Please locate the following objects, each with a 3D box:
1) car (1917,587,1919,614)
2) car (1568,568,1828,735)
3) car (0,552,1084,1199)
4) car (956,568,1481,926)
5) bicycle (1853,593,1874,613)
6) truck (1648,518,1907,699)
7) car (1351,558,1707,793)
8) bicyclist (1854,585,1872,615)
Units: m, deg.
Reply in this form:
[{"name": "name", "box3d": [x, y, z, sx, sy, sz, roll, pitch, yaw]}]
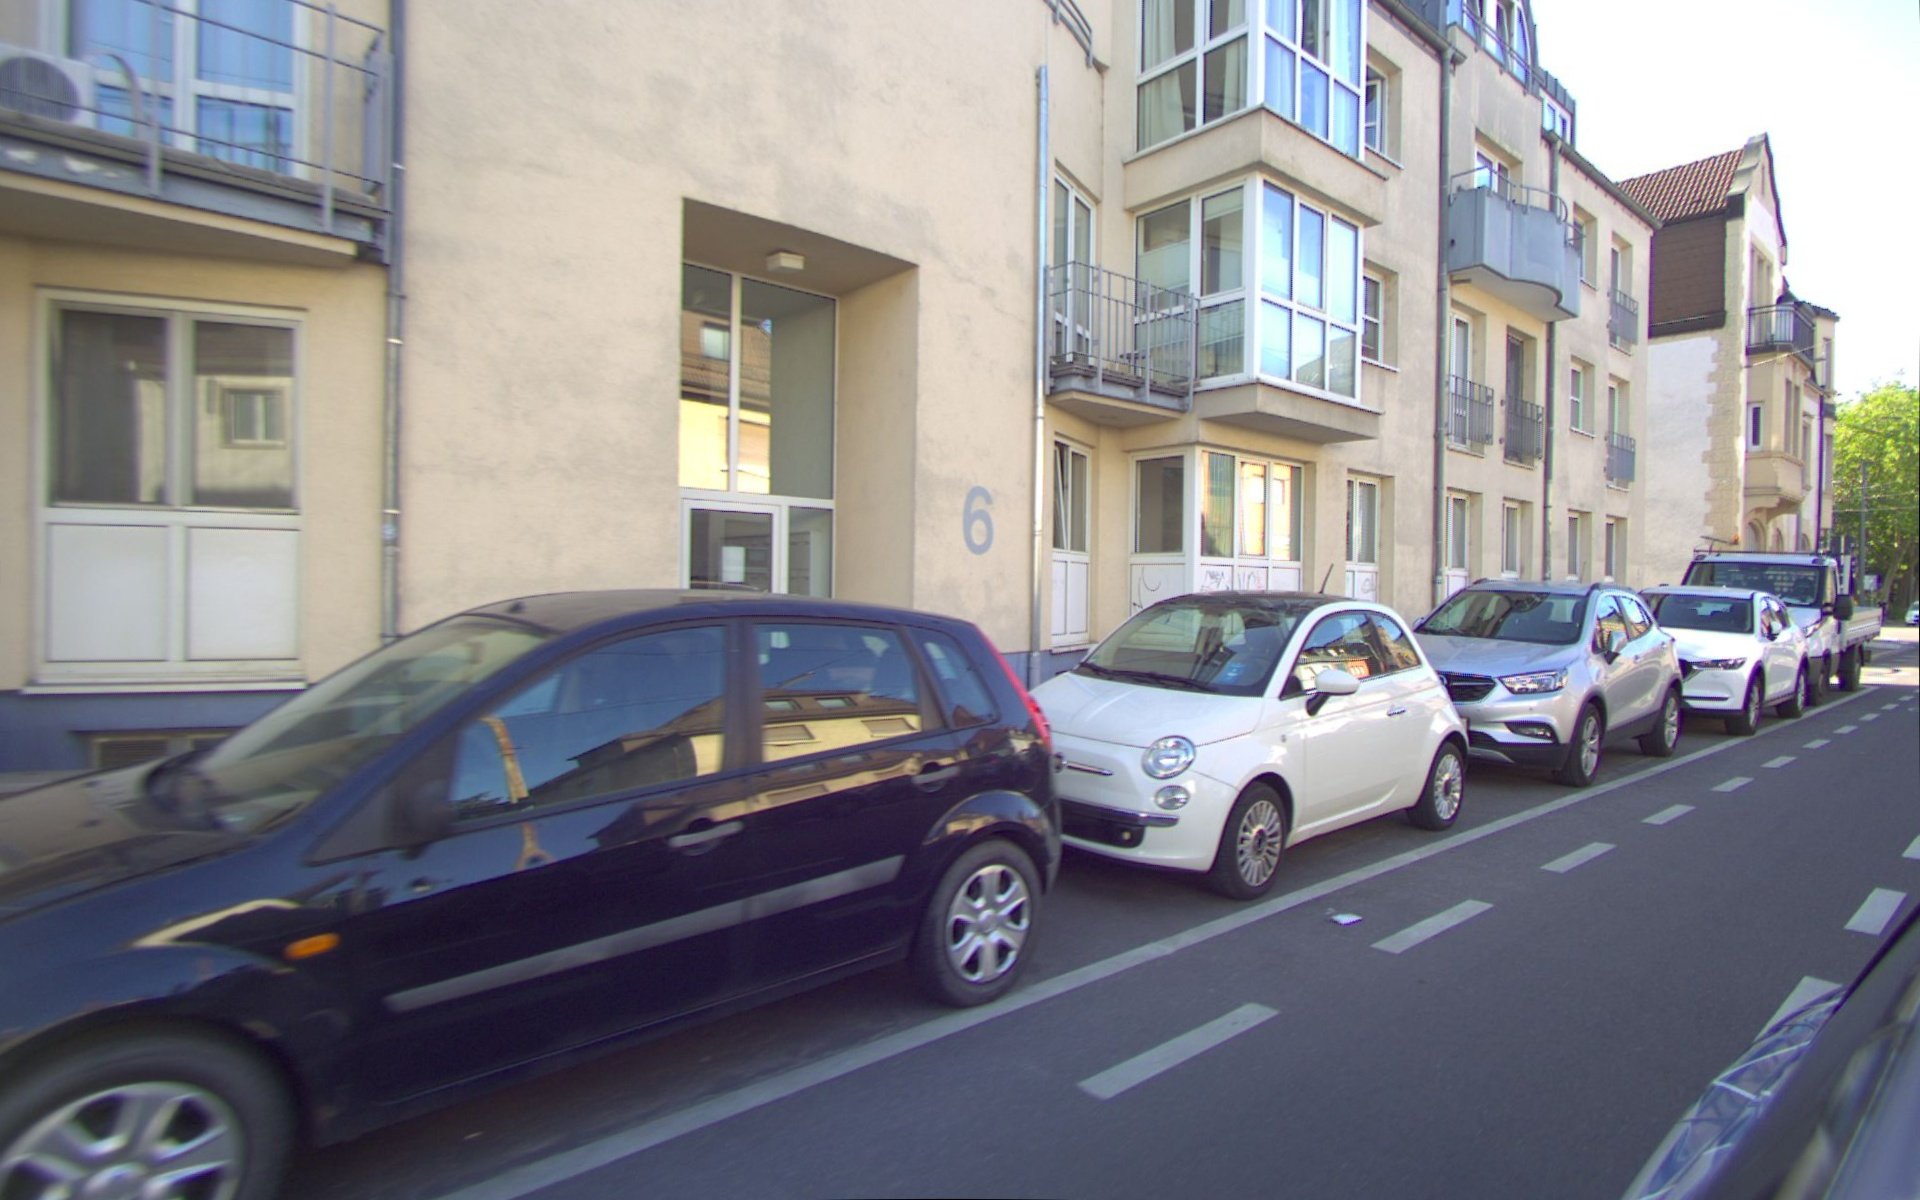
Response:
[{"name": "car", "box3d": [59.710, 0.048, 61.488, 4.492, 1.639, 1.909, 1, 0, -42]}, {"name": "car", "box3d": [9.390, 0.545, 12.754, 4.181, 1.769, 1.742, 0, 0, -41]}, {"name": "car", "box3d": [-1.369, 0.698, 3.314, 3.589, 1.577, 1.556, 0, 0, -42]}, {"name": "car", "box3d": [1.704, 0.644, 6.131, 3.307, 1.577, 1.498, 0, 0, -42]}, {"name": "bicycle", "box3d": [54.000, 0.184, 60.463, 2.062, 1.047, 0.690, 3, 0, -41]}, {"name": "truck", "box3d": [13.772, 0.082, 16.876, 6.038, 2.508, 2.300, 0, 1, -41]}, {"name": "car", "box3d": [5.340, 0.547, 9.292, 3.919, 1.721, 1.605, 0, 0, -41]}, {"name": "bicyclist", "box3d": [53.832, -0.012, 60.313, 0.611, 1.751, 0.669, 3, -1, -41]}]
